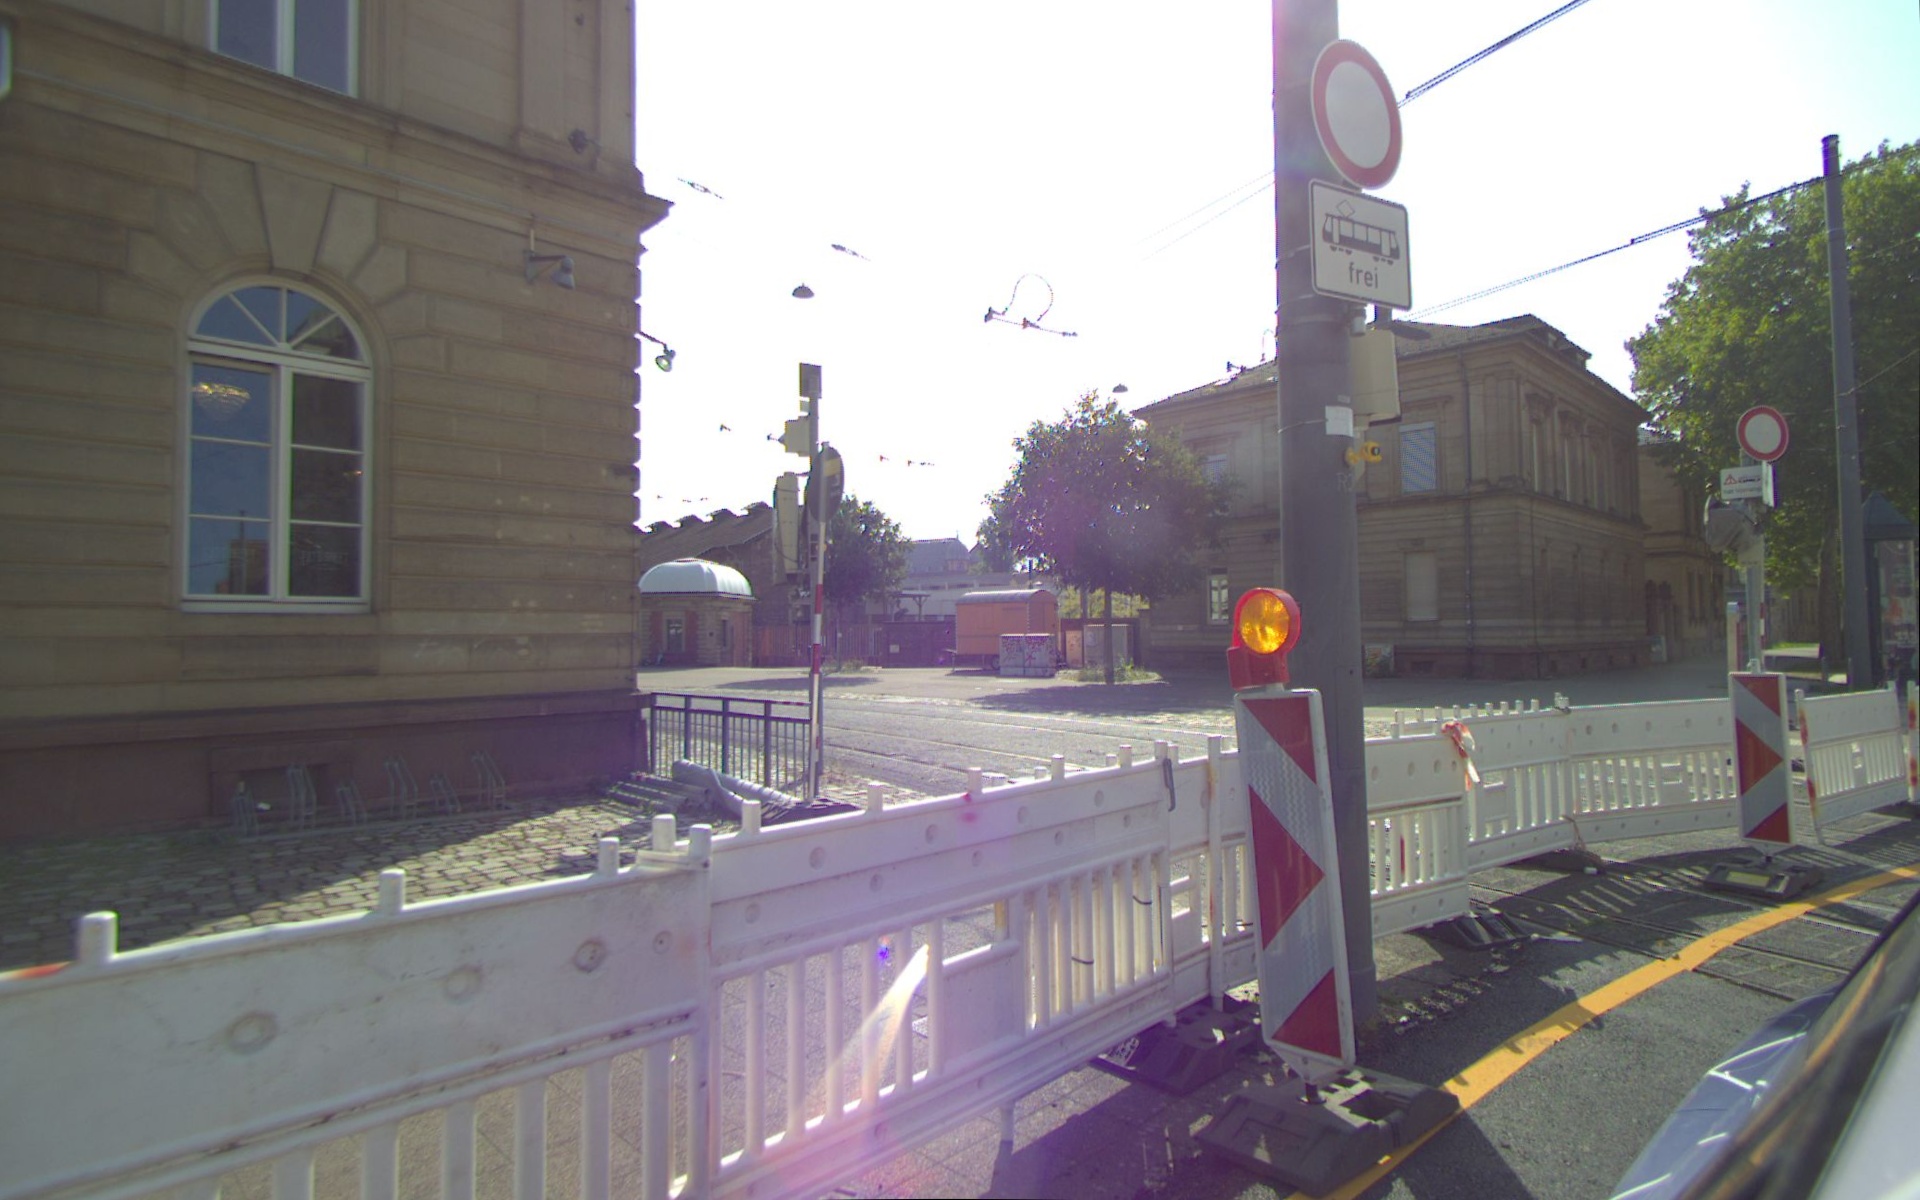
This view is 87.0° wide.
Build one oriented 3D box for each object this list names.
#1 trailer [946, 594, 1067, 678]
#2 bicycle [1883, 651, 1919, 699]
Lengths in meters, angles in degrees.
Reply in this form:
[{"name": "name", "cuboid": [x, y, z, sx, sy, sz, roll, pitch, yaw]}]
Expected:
[{"name": "trailer", "cuboid": [1.810, 1.414, 39.667, 3.977, 3.108, 2.522, -3, -2, 38]}, {"name": "bicycle", "cuboid": [20.229, 1.592, 21.754, 1.352, 1.000, 0.410, 2, -4, -42]}]
